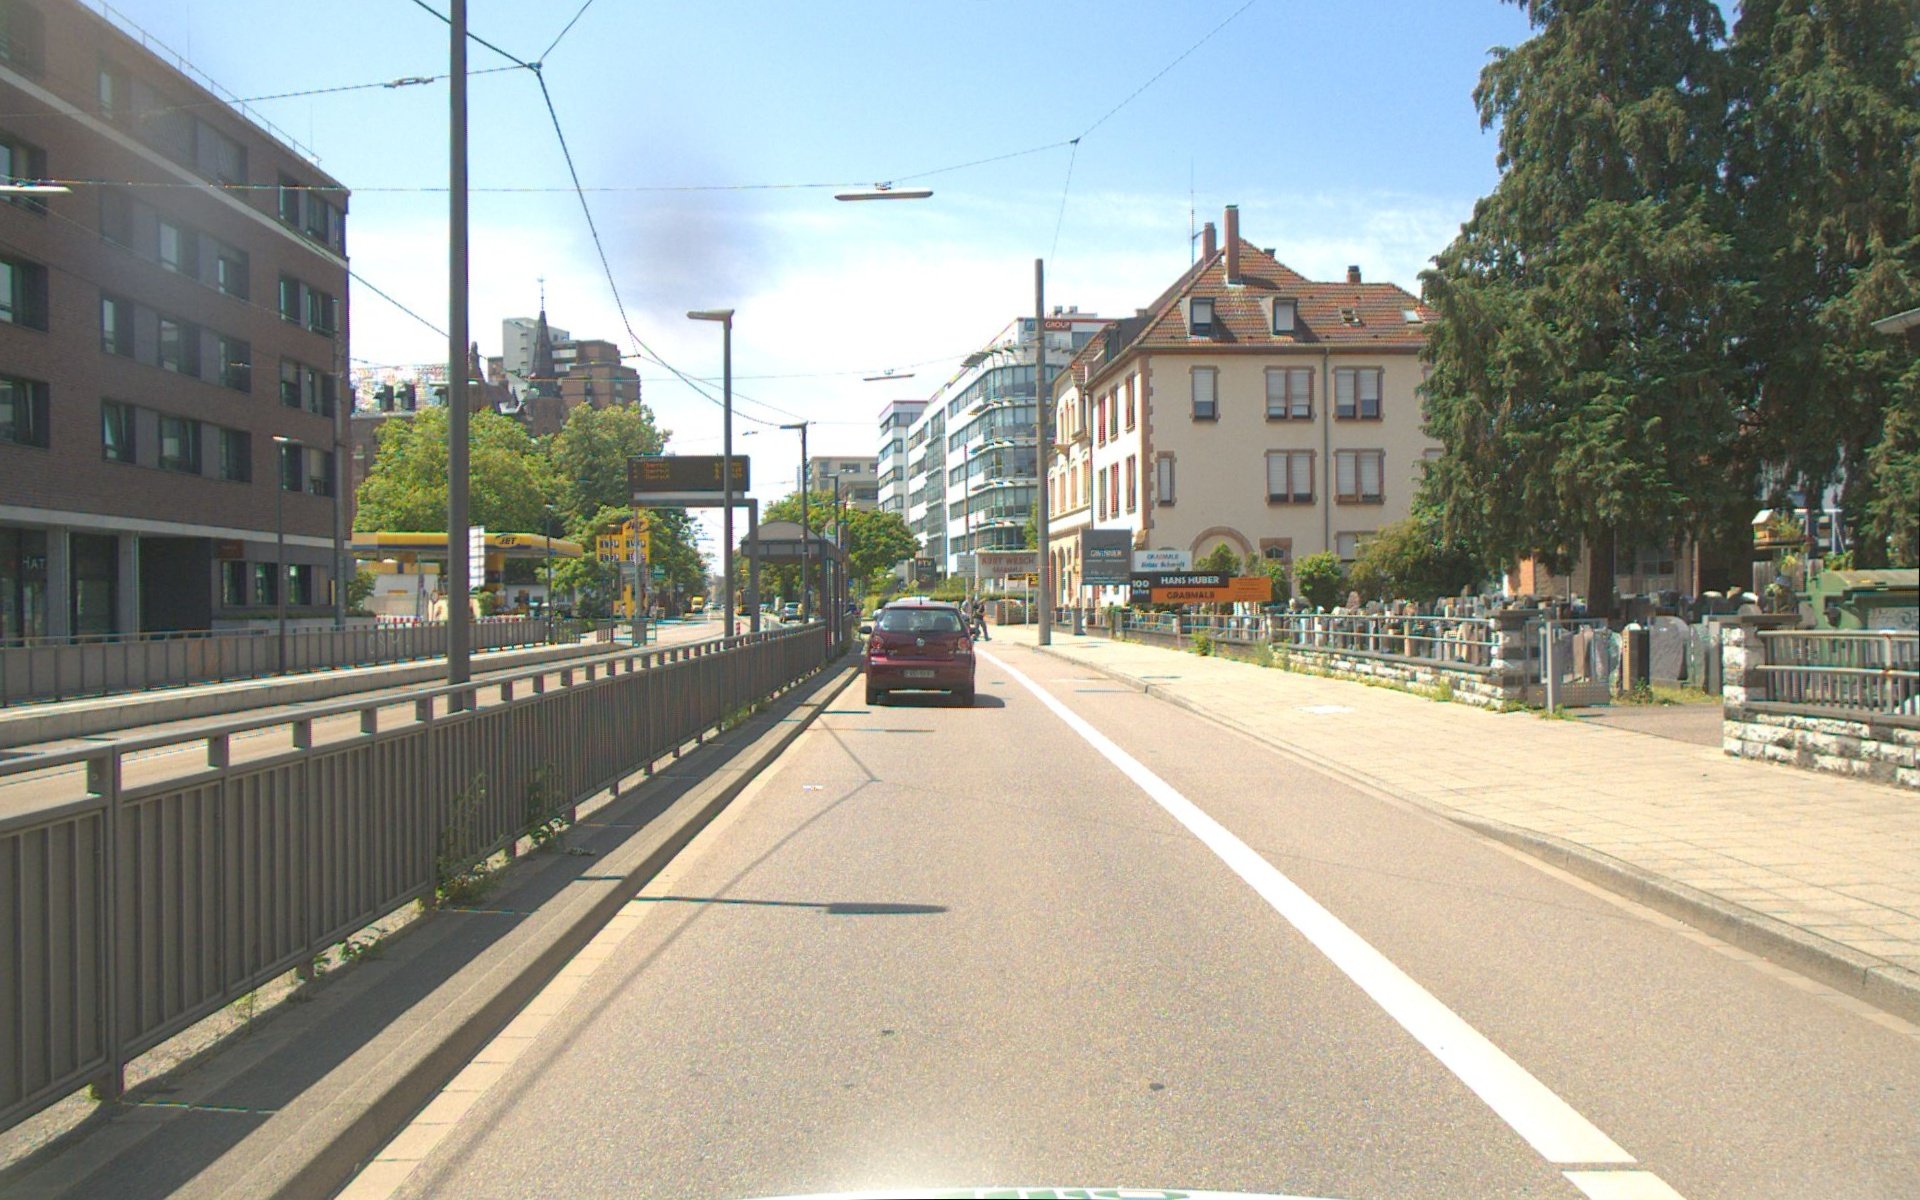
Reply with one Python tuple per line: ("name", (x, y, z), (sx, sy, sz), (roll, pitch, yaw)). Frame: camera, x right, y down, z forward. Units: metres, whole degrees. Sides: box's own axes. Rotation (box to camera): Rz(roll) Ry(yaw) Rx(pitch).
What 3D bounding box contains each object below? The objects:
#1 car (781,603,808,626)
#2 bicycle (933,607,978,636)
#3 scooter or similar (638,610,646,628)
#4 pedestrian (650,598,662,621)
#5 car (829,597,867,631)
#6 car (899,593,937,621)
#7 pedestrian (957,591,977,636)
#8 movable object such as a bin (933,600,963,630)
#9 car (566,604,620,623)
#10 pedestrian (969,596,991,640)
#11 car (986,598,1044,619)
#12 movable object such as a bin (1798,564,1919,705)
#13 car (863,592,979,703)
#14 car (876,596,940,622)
("car", (-13.225, 1.155, 132.310), (1.956, 1.769, 3.992), (-1, 0, -8))
("bicycle", (-0.184, 0.872, 67.094), (1.764, 1.147, 0.590), (0, 0, 20))
("scooter or similar", (-21.607, 1.275, 112.289), (0.509, 1.221, 1.373), (1, 0, -11))
("pedestrian", (-23.436, 0.744, 127.380), (0.710, 1.721, 0.623), (-1, -1, 44))
("car", (-7.000, 0.856, 102.876), (1.957, 2.049, 3.991), (1, 0, -9))
("car", (-2.511, 0.430, 97.845), (1.739, 1.575, 4.459), (-2, 0, -8))
("pedestrian", (0.305, 0.558, 67.430), (0.673, 1.803, 0.503), (-1, 0, 21))
("movable object such as a bin", (-0.631, 0.773, 86.725), (1.368, 1.480, 1.136), (-3, 0, -12))
("car", (-30.545, 1.158, 137.856), (1.893, 1.514, 4.441), (1, 0, 31))
("pedestrian", (0.805, 0.706, 65.658), (0.806, 1.721, 0.589), (0, 0, 6))
("car", (4.063, 0.593, 122.152), (4.068, 1.485, 1.816), (-1, 0, -5))
("movable object such as a bin", (10.249, 0.368, 18.309), (1.359, 1.507, 1.151), (0, 0, -1))
("car", (-0.567, 0.670, 25.028), (1.586, 1.512, 3.999), (1, 0, -1))
("car", (-3.777, 0.662, 119.930), (4.453, 1.831, 1.996), (0, 0, -8))
